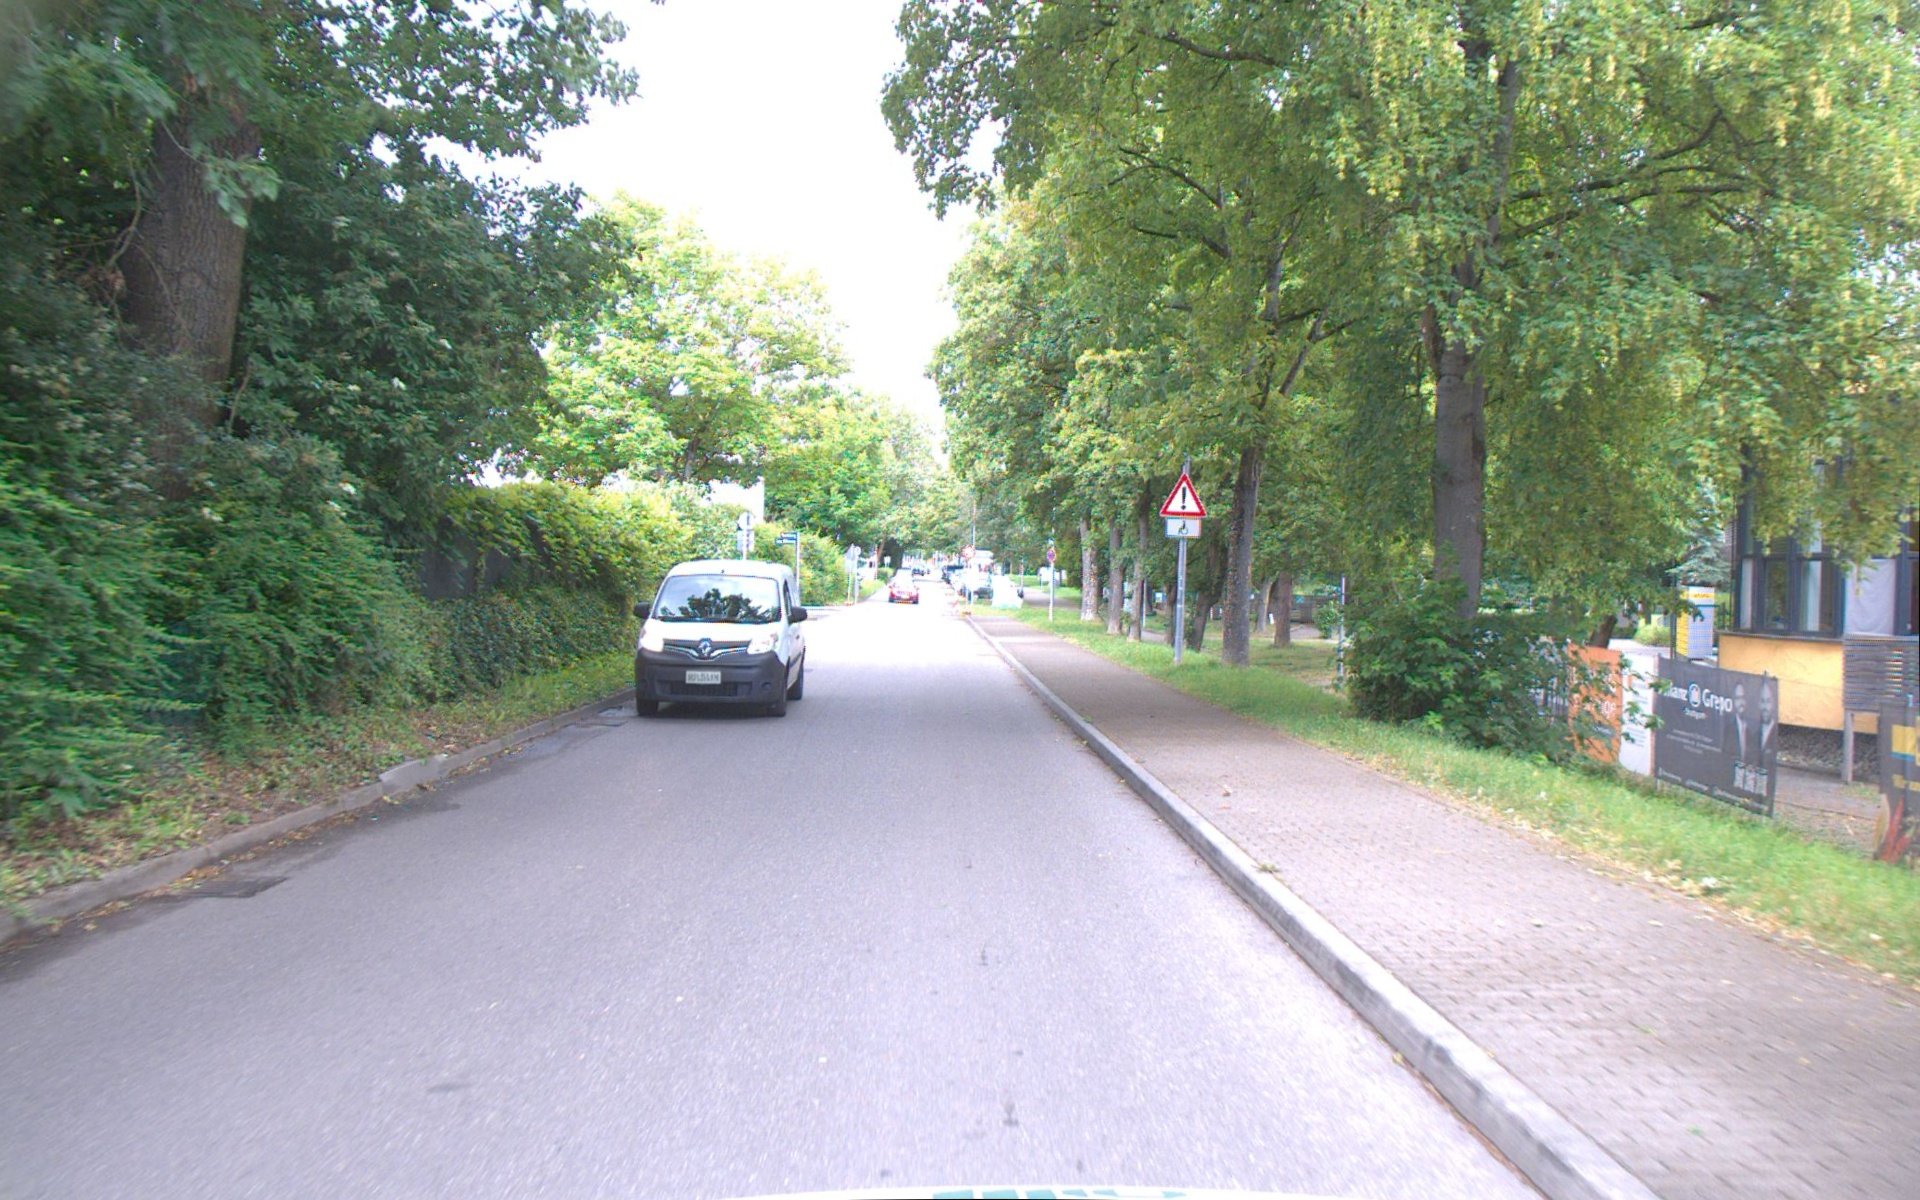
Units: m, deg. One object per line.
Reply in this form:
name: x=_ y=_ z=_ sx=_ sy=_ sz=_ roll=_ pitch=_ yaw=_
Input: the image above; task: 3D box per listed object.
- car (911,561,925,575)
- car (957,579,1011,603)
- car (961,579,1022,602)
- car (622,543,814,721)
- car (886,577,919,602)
car: x=-5.869 y=-4.445 z=230.275 sx=1.929 sy=1.778 sz=4.337 roll=2 pitch=1 yaw=-2
car: x=1.877 y=-0.696 z=128.257 sx=3.984 sy=1.717 sz=1.821 roll=-2 pitch=1 yaw=-5
car: x=2.072 y=-0.632 z=110.516 sx=3.981 sy=1.459 sz=1.999 roll=1 pitch=-1 yaw=-2
car: x=-2.865 y=0.365 z=20.476 sx=1.835 sy=1.947 sz=4.429 roll=0 pitch=0 yaw=-2
car: x=-3.453 y=-0.654 z=100.017 sx=1.714 sy=1.359 sz=4.066 roll=2 pitch=1 yaw=2
